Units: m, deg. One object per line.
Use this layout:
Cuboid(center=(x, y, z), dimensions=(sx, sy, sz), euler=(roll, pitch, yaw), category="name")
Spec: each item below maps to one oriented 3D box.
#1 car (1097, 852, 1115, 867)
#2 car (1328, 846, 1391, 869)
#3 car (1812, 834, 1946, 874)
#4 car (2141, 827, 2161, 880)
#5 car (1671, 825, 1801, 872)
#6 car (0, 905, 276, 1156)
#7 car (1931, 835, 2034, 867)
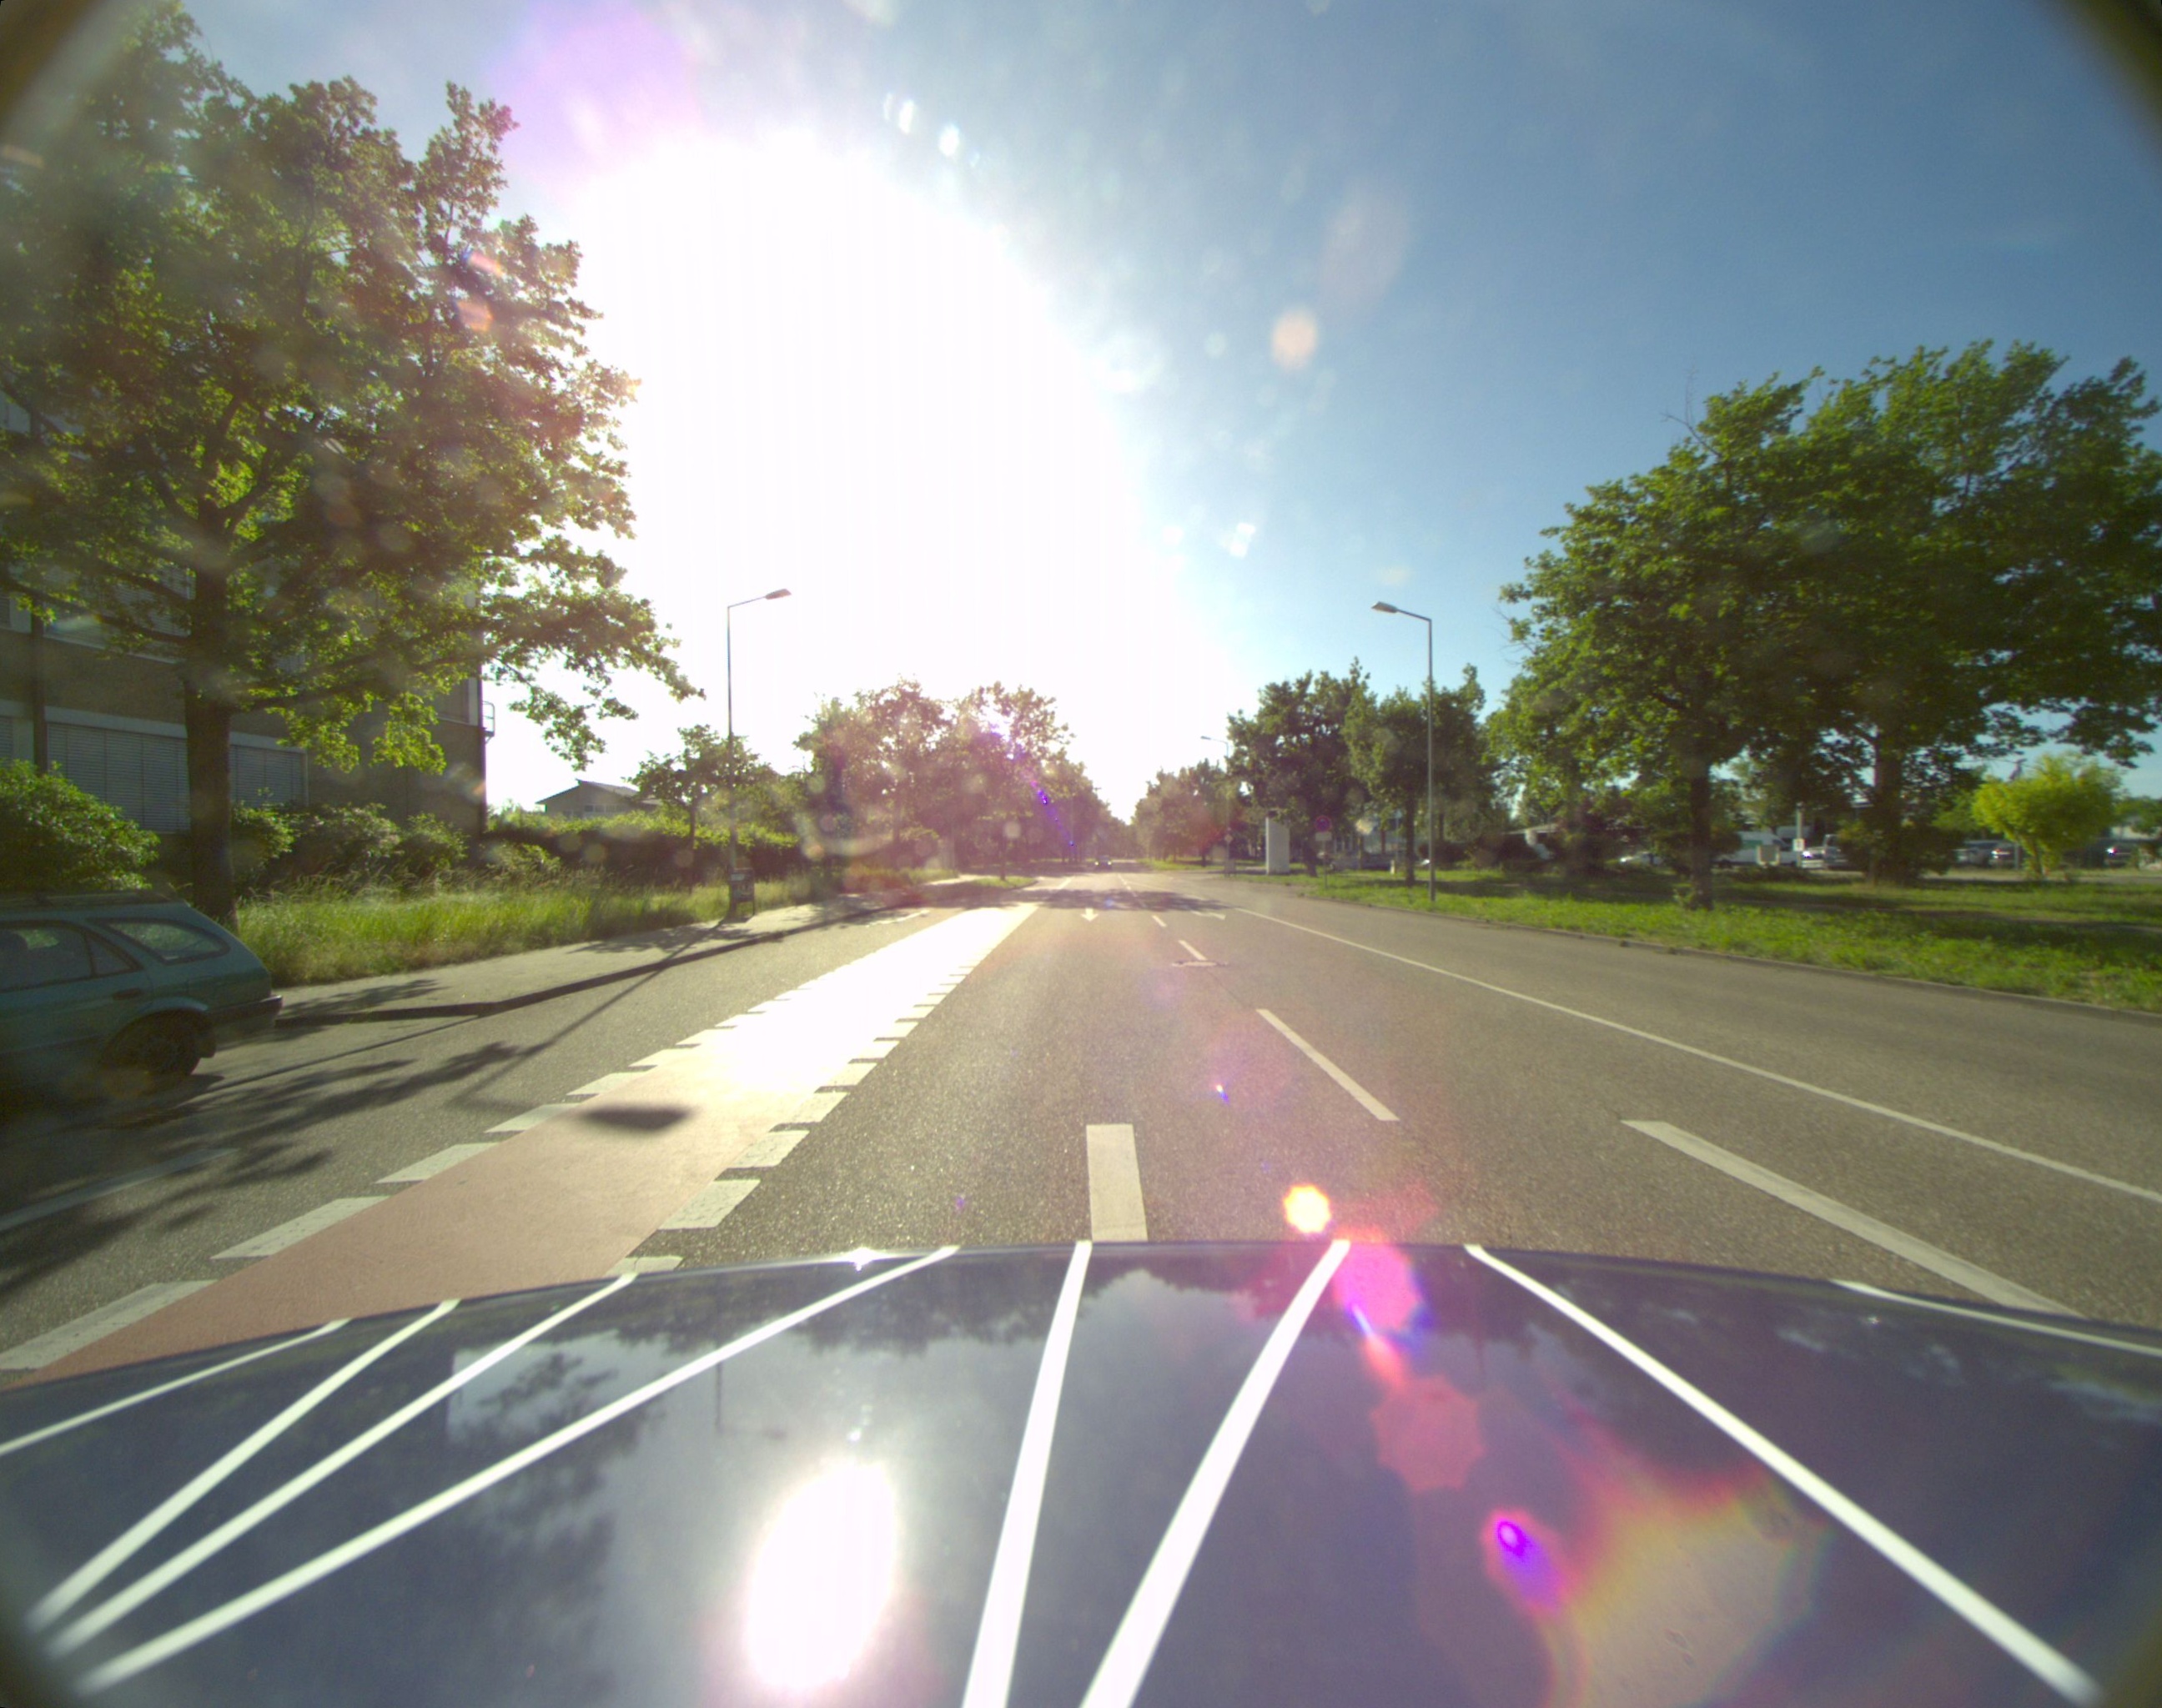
Cuboid(center=(2.659, 0.601, 79.837), dimensions=(1.653, 1.460, 3.942), euler=(-2, 0, 5), category="car")
Cuboid(center=(23.923, 0.299, 65.363), dimensions=(4.637, 1.822, 2.000), euler=(-2, 1, 0), category="car")
Cuboid(center=(40.056, -0.003, 38.214), dimensions=(4.642, 1.771, 1.990), euler=(-2, 1, 0), category="car")
Cuboid(center=(33.884, -0.084, 22.033), dimensions=(3.817, 1.562, 1.736), euler=(-2, -1, 0), category="car")
Cuboid(center=(39.895, -0.336, 46.391), dimensions=(6.023, 2.540, 2.409), euler=(-2, 1, -4), category="car")
Cuboid(center=(-7.528, 1.131, 4.211), dimensions=(1.706, 1.460, 4.141), euler=(-1, -1, 0), category="car")
Cuboid(center=(52.084, -0.204, 43.954), dimensions=(3.860, 1.661, 1.762), euler=(-2, 1, 0), category="car")
